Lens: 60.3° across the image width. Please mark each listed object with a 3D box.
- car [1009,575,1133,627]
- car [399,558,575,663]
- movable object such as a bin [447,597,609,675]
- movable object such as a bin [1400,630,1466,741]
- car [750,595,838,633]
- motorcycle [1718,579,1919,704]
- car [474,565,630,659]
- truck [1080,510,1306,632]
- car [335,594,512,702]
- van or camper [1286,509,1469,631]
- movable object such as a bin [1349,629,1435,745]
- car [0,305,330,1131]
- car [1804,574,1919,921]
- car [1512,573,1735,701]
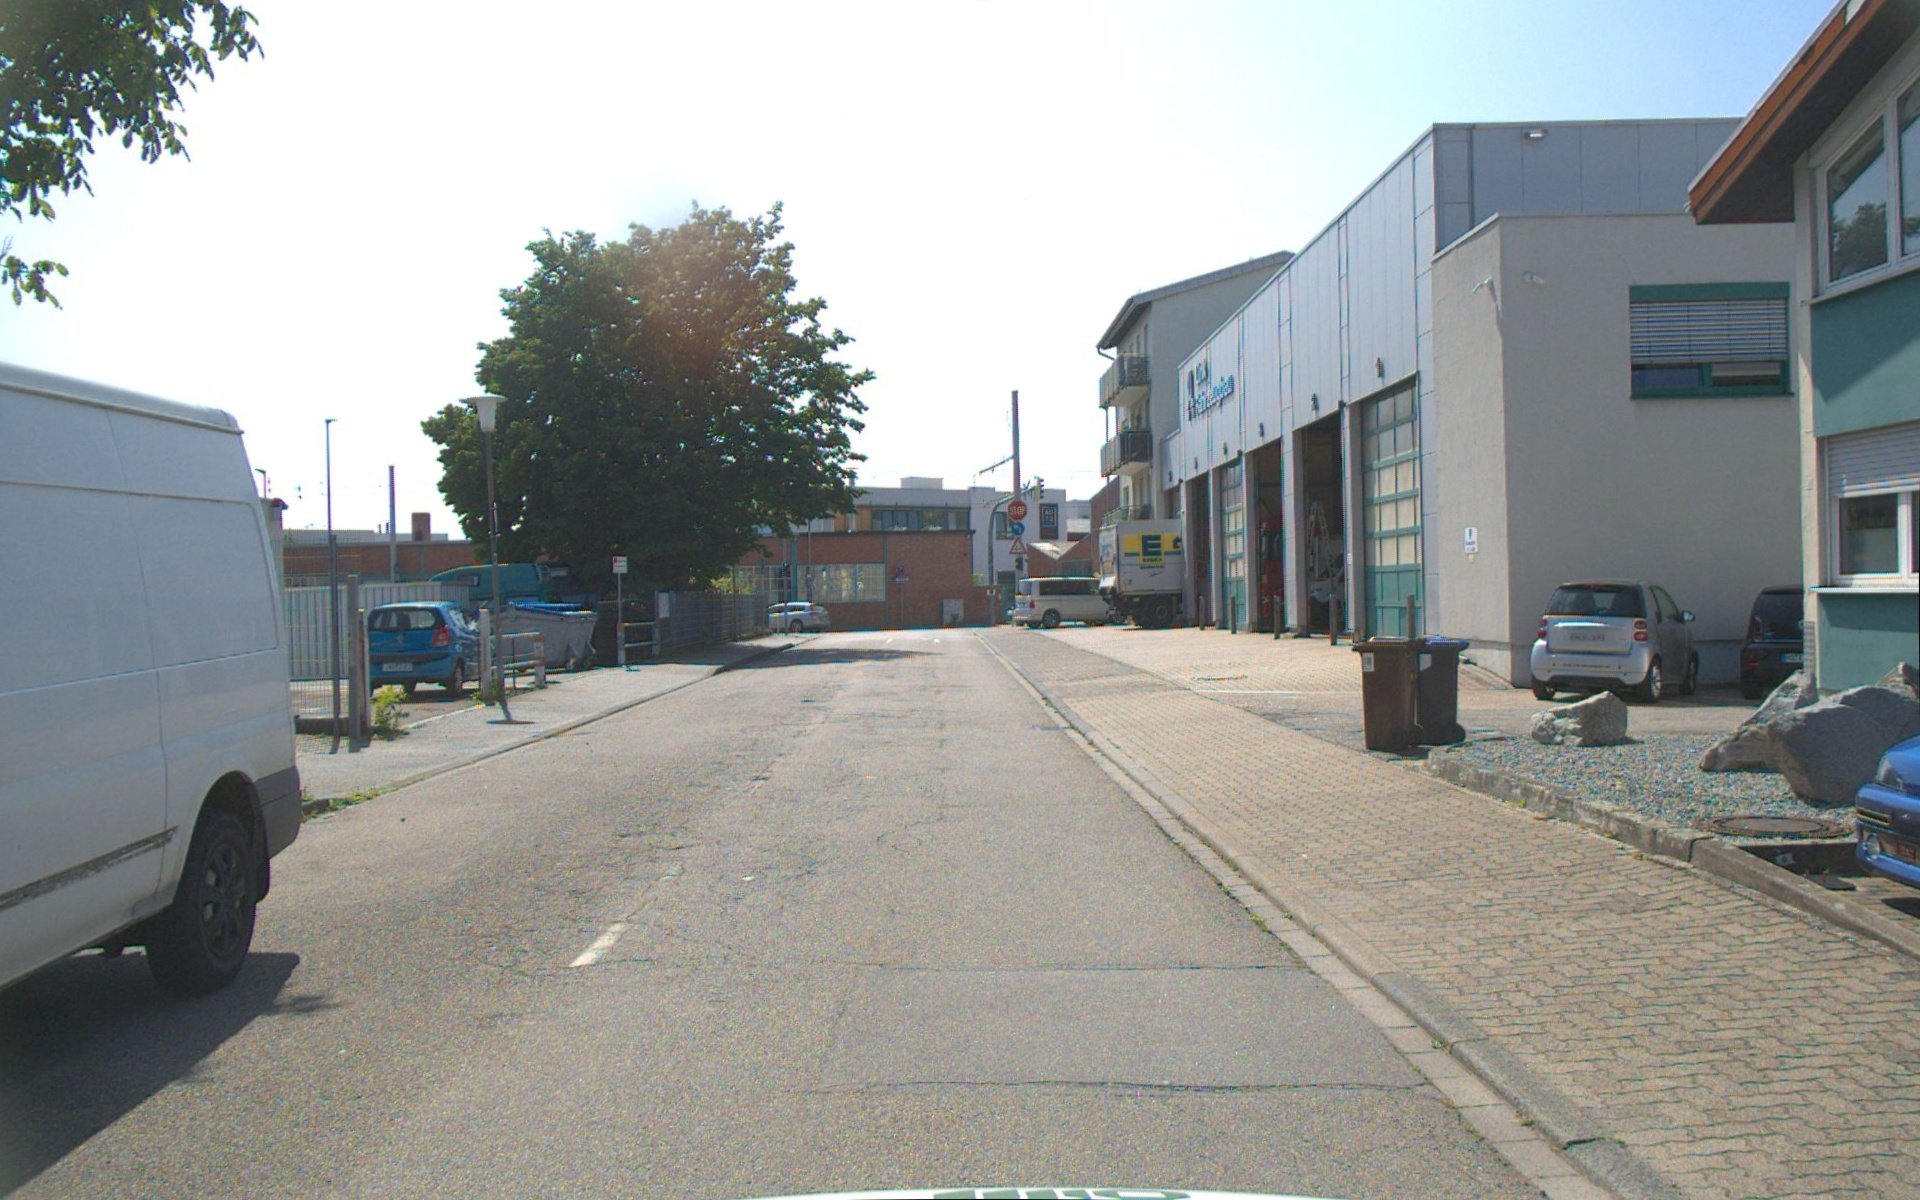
[{"bbox_3d":[4.440,0.021,66.414,4.586,1.992,1.905,-1,0,-20],"label":"car"},{"bbox_3d":[-12.132,0.261,42.591,4.004,2.557,1.776,-1,0,-3],"label":"car"},{"bbox_3d":[-9.217,0.740,35.503,2.571,1.536,2.730,-2,0,4],"label":"movable object such as a bin"},{"bbox_3d":[4.253,0.765,14.897,0.502,0.962,0.488,-2,0,10],"label":"movable object such as a bin"},{"bbox_3d":[-8.092,0.685,80.744,3.870,1.714,1.894,-2,0,29],"label":"car"},{"bbox_3d":[11.712,0.514,22.351,1.746,1.518,3.590,-2,0,40],"label":"motorcycle"},{"bbox_3d":[-11.651,0.343,47.425,4.004,2.557,1.776,-1,0,-3],"label":"car"},{"bbox_3d":[8.110,-1.001,58.097,7.221,3.708,2.763,-4,0,-7],"label":"truck"},{"bbox_3d":[-8.641,0.733,26.935,1.778,1.557,3.673,-2,0,-3],"label":"car"},{"bbox_3d":[11.932,-0.850,47.416,4.662,3.346,1.998,-1,0,-5],"label":"van or camper"},{"bbox_3d":[3.758,0.746,14.381,0.557,0.962,0.556,-2,0,32],"label":"movable object such as a bin"},{"bbox_3d":[-3.799,0.369,4.927,1.965,2.407,5.226,-3,0,-3],"label":"car"},{"bbox_3d":[5.511,0.567,6.822,3.187,1.423,1.673,-1,0,-1],"label":"car"},{"bbox_3d":[9.140,0.460,22.646,1.746,1.566,3.683,-2,0,40],"label":"car"}]
